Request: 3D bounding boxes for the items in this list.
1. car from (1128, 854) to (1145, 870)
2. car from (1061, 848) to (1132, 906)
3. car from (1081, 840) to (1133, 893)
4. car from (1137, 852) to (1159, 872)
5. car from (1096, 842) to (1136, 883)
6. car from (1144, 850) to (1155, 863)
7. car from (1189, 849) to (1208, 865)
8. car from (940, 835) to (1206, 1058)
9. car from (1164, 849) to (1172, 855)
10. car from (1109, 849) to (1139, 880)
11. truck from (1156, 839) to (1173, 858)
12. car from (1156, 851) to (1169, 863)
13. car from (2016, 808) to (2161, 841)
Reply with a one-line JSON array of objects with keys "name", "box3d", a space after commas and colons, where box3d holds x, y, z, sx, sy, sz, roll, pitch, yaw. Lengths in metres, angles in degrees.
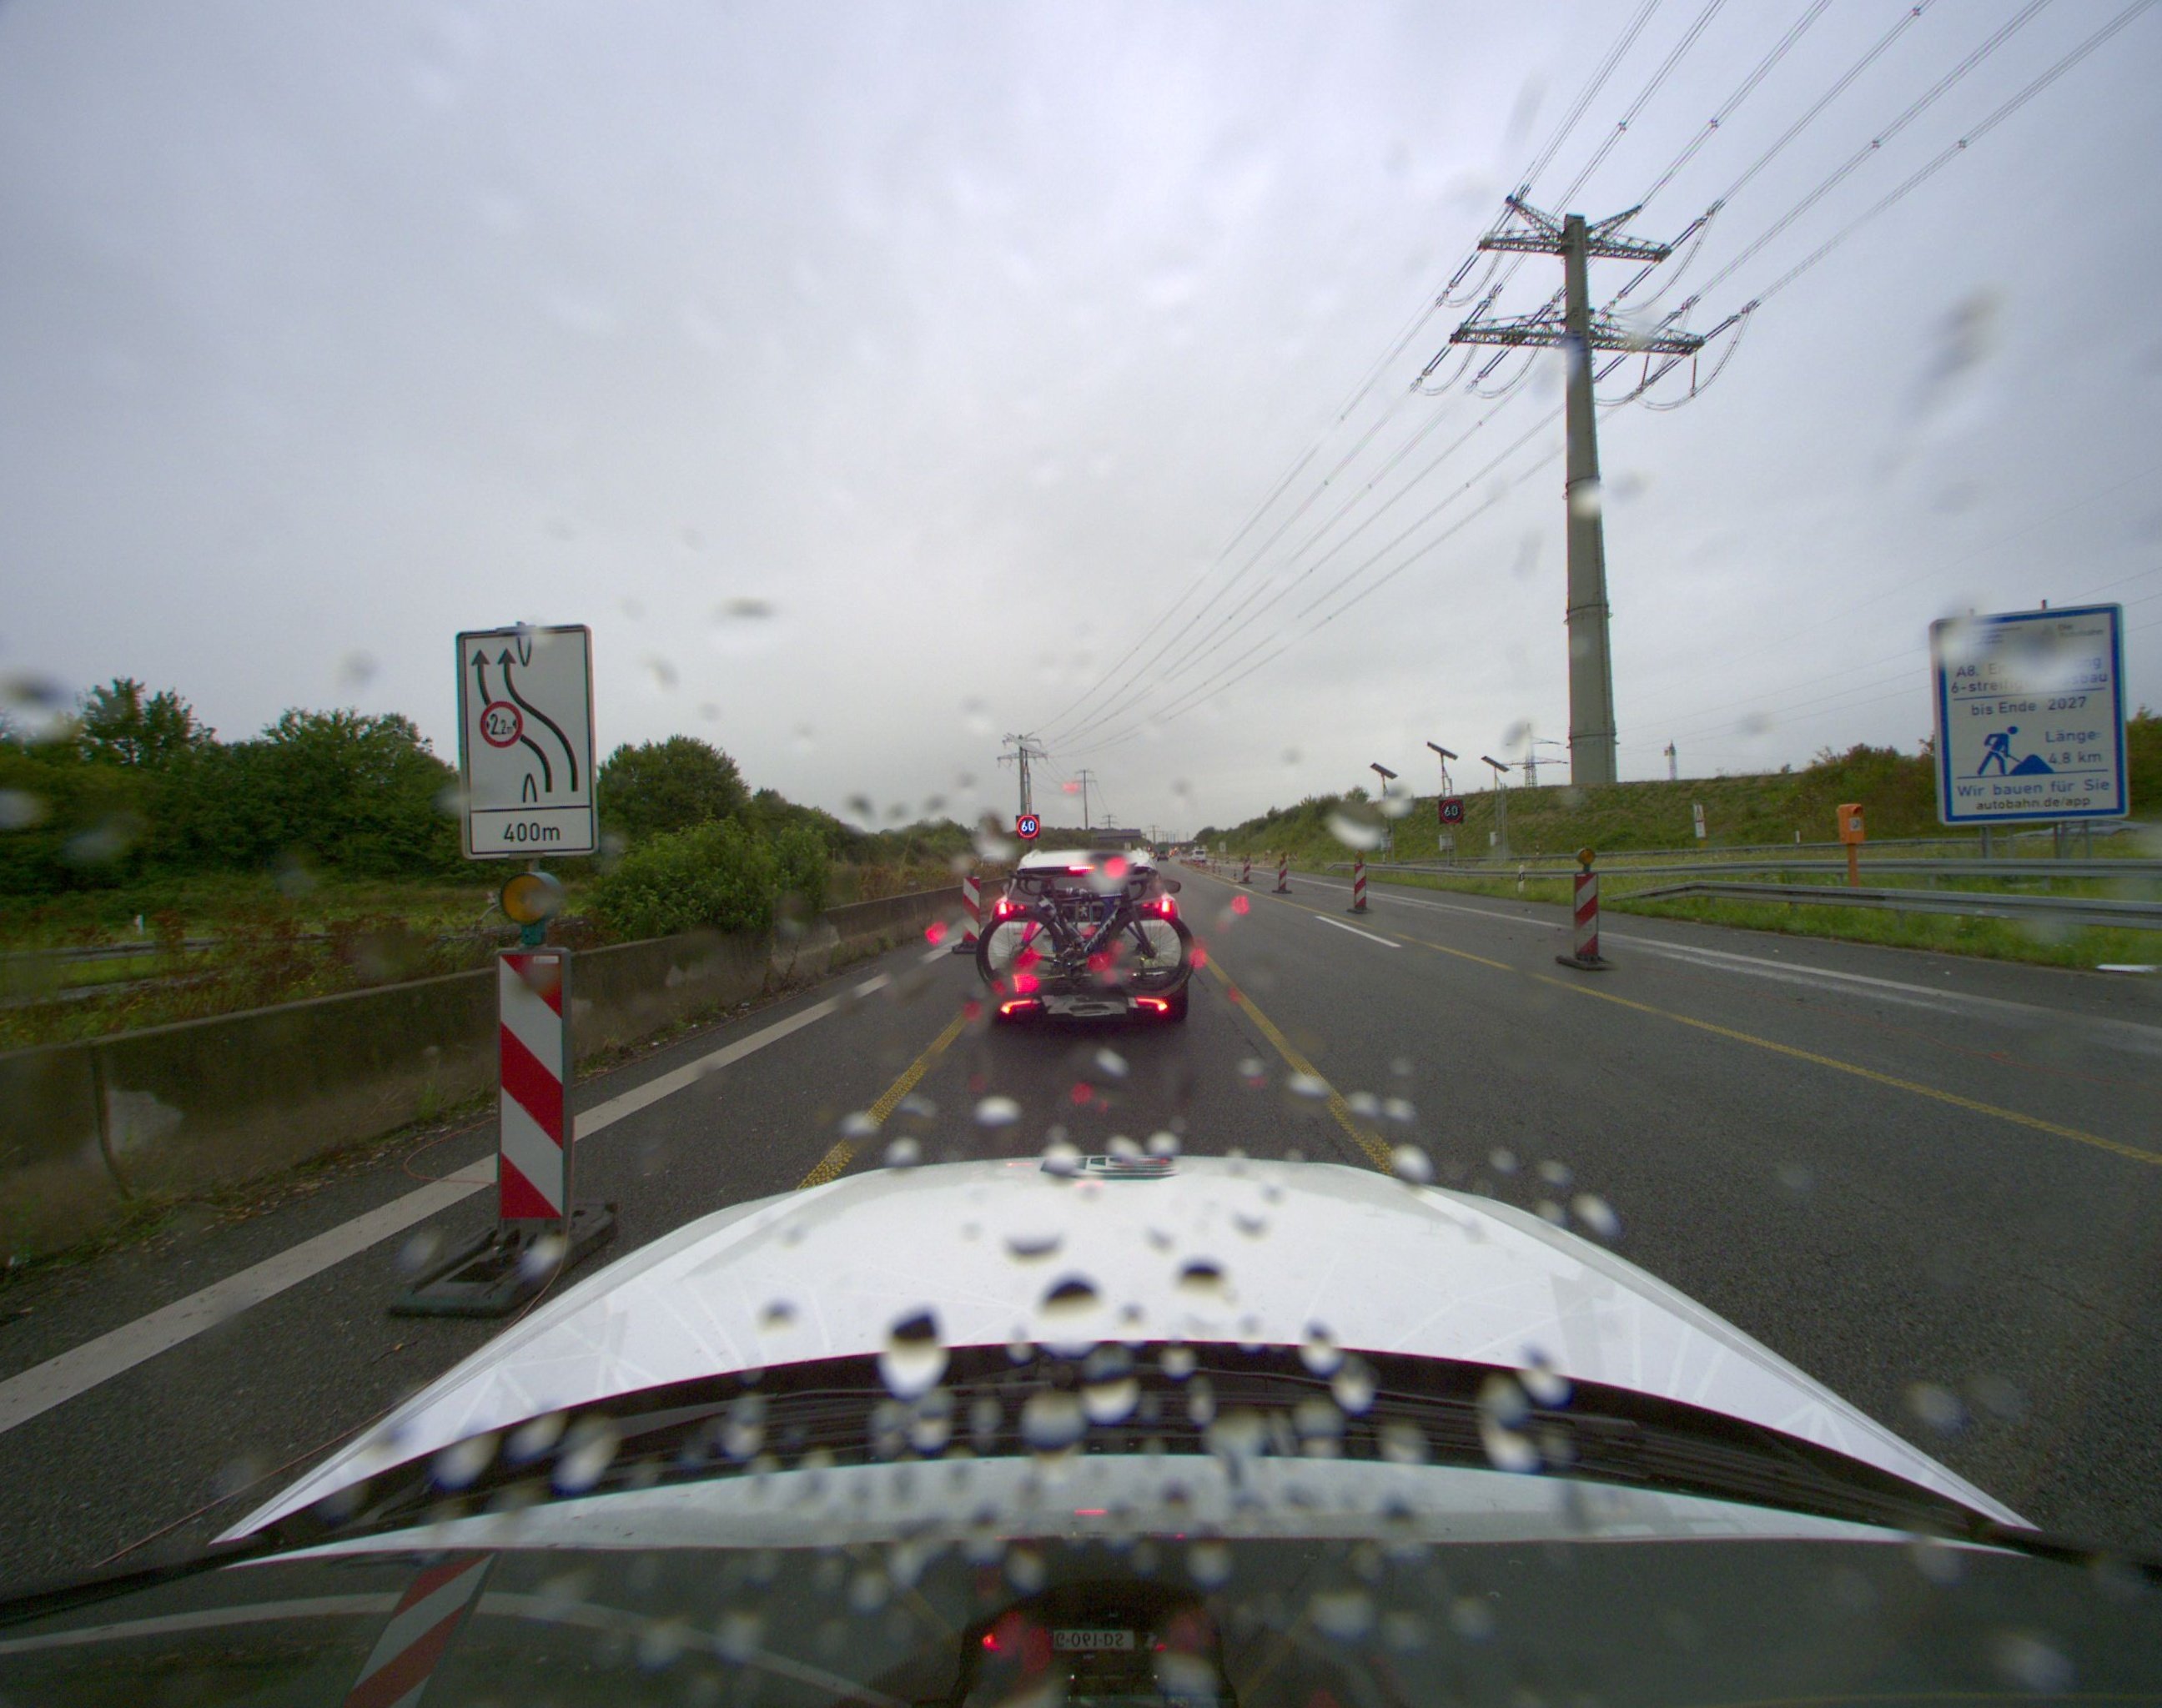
[{"name": "car", "box3d": [6.878, 1.008, 101.333, 1.986, 2.014, 4.001, 0, -1, 2]}, {"name": "car", "box3d": [0.488, 0.649, 25.054, 1.986, 1.584, 4.002, -1, 0, 2]}, {"name": "car", "box3d": [1.103, 0.505, 34.236, 1.986, 2.013, 4.002, -3, 0, 2]}, {"name": "car", "box3d": [7.167, 0.870, 87.609, 1.987, 2.014, 4.000, -3, -2, 1]}, {"name": "car", "box3d": [1.877, 0.431, 44.248, 1.986, 2.013, 4.002, -3, 0, 2]}, {"name": "car", "box3d": [11.086, 0.331, 130.839, 1.645, 2.013, 4.007, -1, 0, 6]}, {"name": "car", "box3d": [15.872, 0.374, 109.813, 1.986, 2.013, 4.002, -3, 0, 2]}, {"name": "car", "box3d": [0.096, 0.679, 8.239, 1.920, 1.611, 4.600, -1, 0, 4]}, {"name": "car", "box3d": [26.156, -0.609, 245.396, 1.986, 2.013, 4.002, -1, 0, 2]}, {"name": "car", "box3d": [2.918, 0.700, 55.737, 1.986, 2.014, 4.001, 0, -1, 2]}, {"name": "truck", "box3d": [19.382, -1.352, 189.732, 3.715, 3.821, 11.884, 0, 3, 4]}, {"name": "car", "box3d": [13.869, 0.588, 139.143, 1.986, 2.014, 4.001, 0, -1, 2]}, {"name": "car", "box3d": [42.667, -1.235, 34.485, 3.857, 1.161, 1.497, -3, 0, 42]}]
